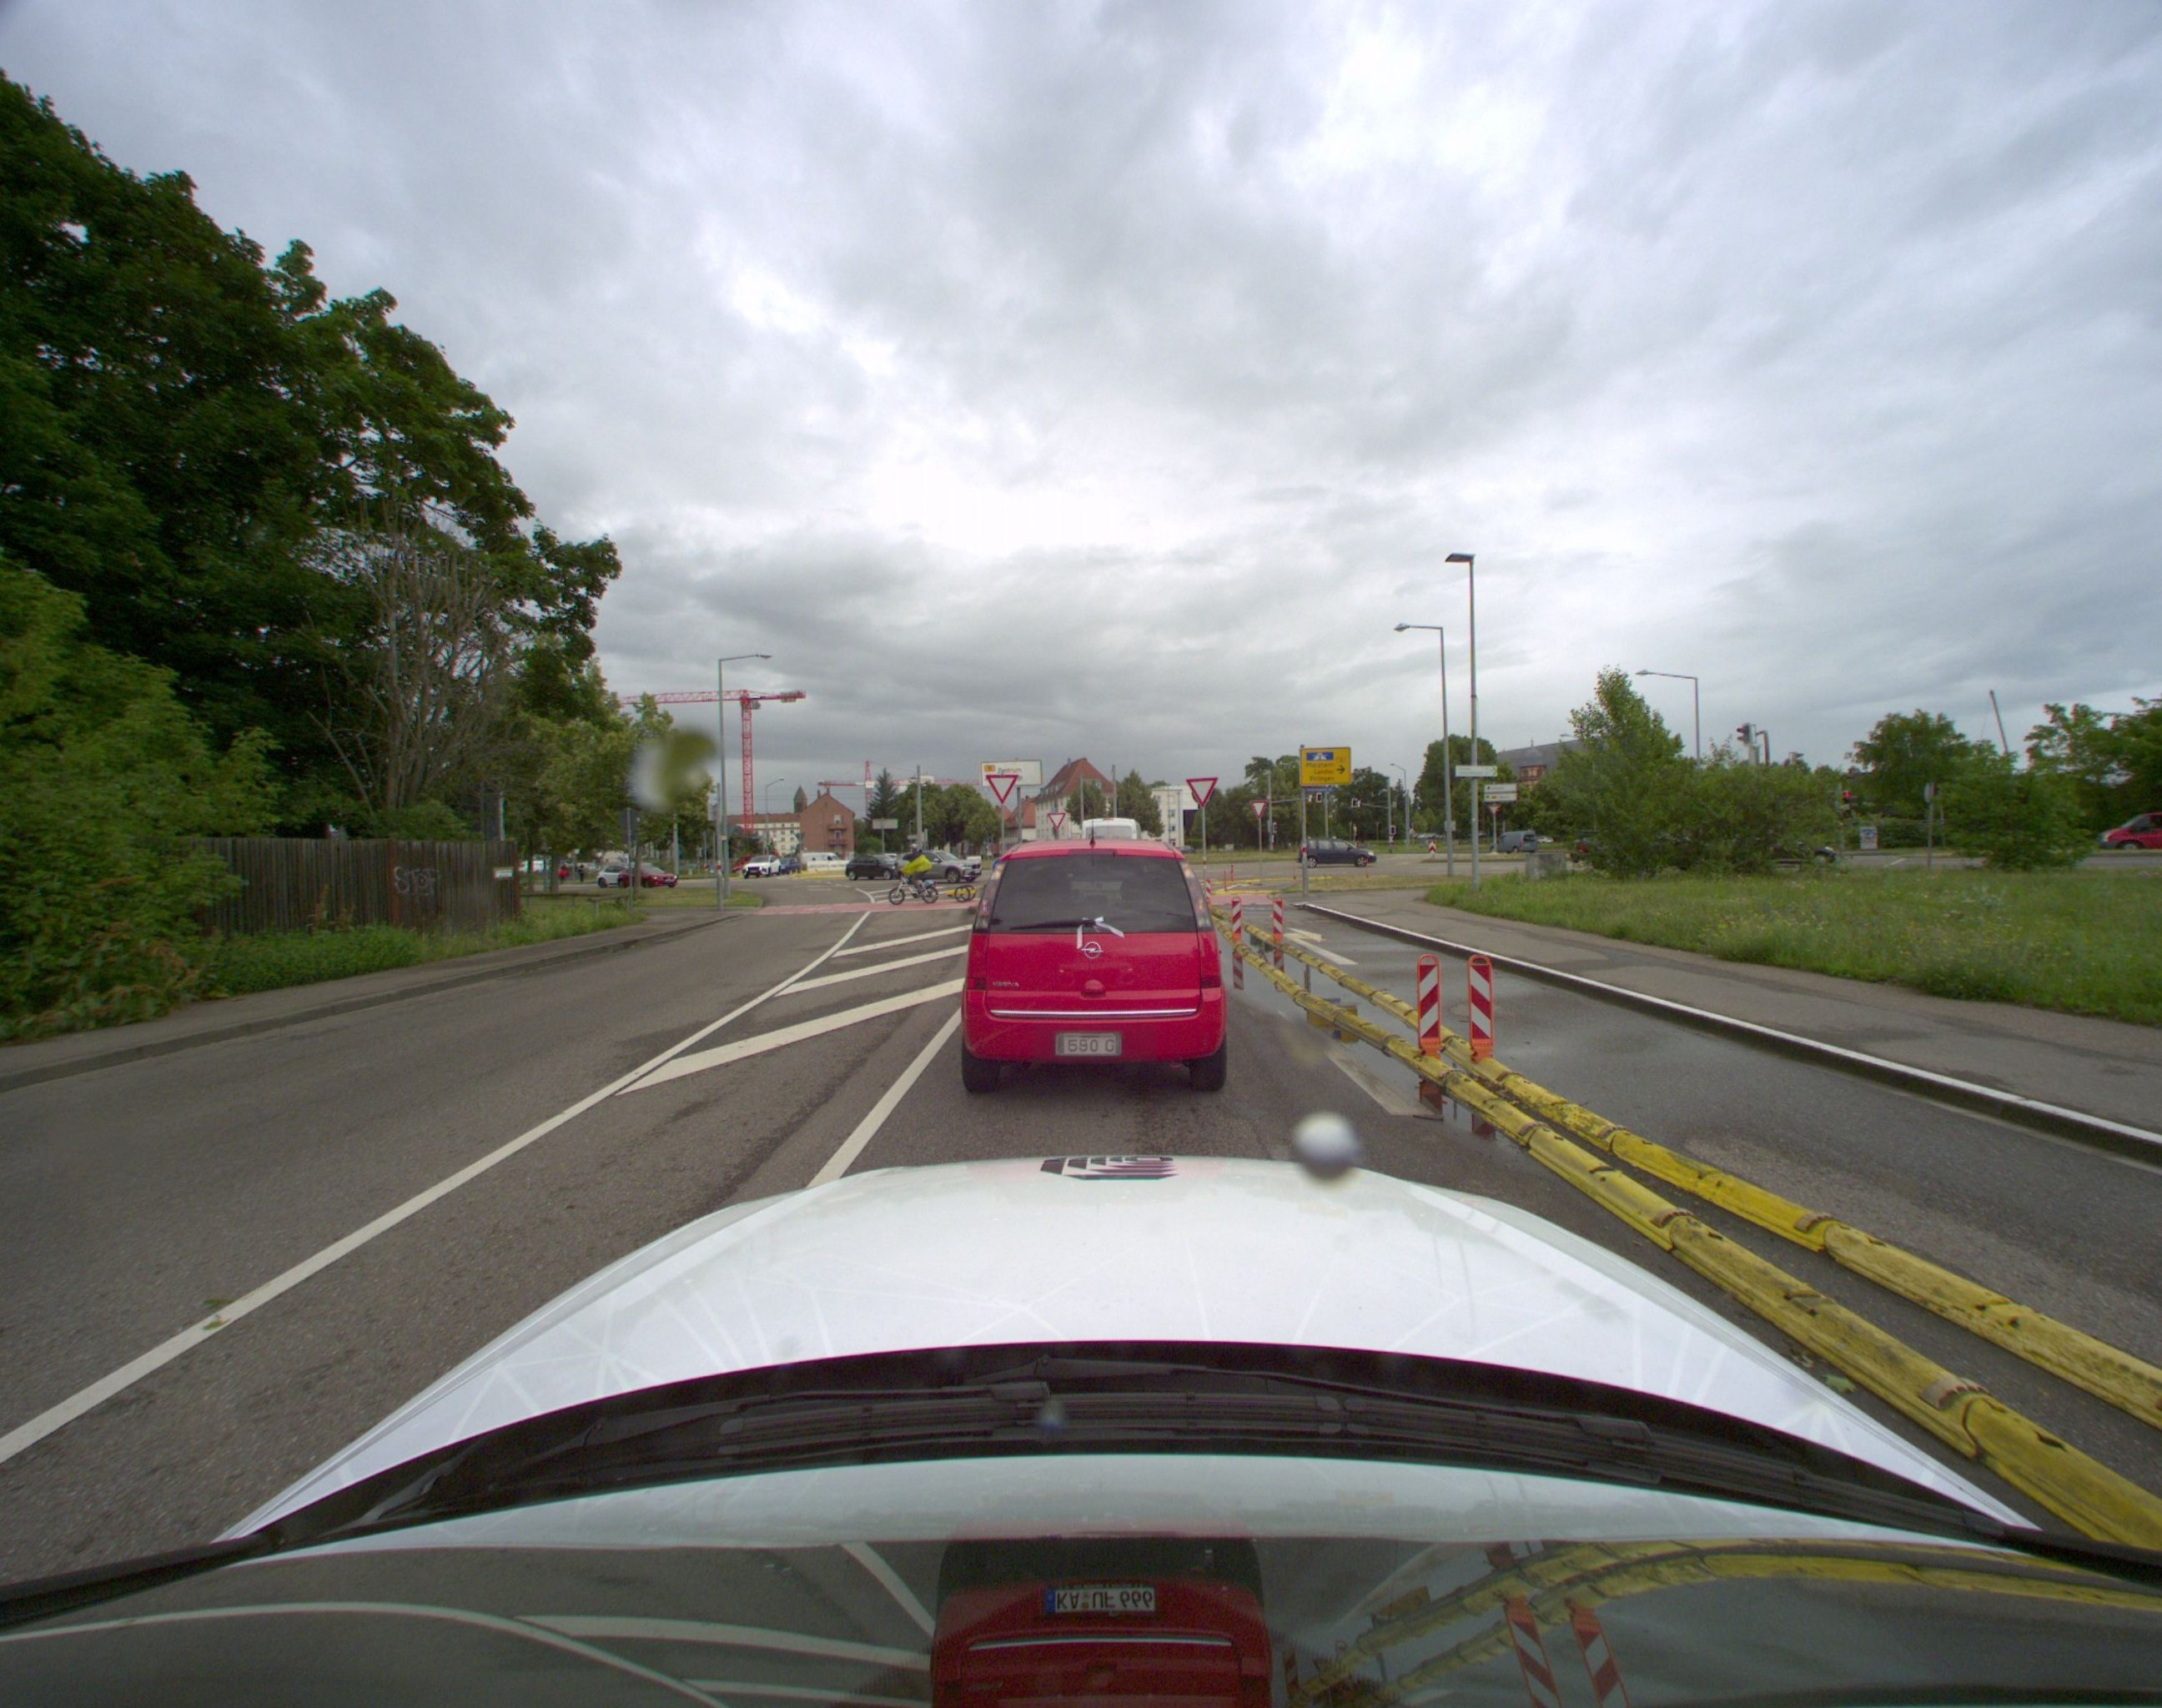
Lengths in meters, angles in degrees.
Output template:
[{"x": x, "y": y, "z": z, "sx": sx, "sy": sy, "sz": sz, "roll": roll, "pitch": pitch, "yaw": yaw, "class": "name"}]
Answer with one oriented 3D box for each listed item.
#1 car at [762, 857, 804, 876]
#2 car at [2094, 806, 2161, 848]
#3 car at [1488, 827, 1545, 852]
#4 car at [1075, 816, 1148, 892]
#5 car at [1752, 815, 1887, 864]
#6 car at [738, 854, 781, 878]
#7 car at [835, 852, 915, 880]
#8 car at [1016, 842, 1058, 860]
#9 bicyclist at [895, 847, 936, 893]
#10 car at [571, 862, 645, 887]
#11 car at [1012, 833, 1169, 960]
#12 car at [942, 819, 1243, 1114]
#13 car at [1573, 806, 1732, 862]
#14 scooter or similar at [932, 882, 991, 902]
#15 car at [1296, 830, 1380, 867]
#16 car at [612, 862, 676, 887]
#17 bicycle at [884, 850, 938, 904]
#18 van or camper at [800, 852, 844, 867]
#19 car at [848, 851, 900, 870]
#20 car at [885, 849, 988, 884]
[{"x": -25.276, "y": 1.030, "z": 69.197, "sx": 1.923, "sy": 1.489, "sz": 4.002, "roll": -2, "pitch": 0, "yaw": 2, "class": "car"}, {"x": 51.770, "y": -1.306, "z": 38.365, "sx": 4.829, "sy": 1.917, "sz": 2.128, "roll": -2, "pitch": 0, "yaw": 44, "class": "car"}, {"x": 37.673, "y": -1.227, "z": 70.584, "sx": 1.995, "sy": 2.013, "sz": 4.460, "roll": -2, "pitch": 0, "yaw": -12, "class": "car"}, {"x": 1.229, "y": -0.023, "z": 29.848, "sx": 2.183, "sy": 2.540, "sz": 4.973, "roll": -1, "pitch": 0, "yaw": 7, "class": "car"}, {"x": 30.133, "y": -0.579, "z": 33.284, "sx": 2.012, "sy": 1.848, "sz": 3.950, "roll": -2, "pitch": 0, "yaw": -44, "class": "car"}, {"x": -24.618, "y": 0.897, "z": 62.515, "sx": 1.928, "sy": 1.684, "sz": 4.180, "roll": -2, "pitch": 0, "yaw": -6, "class": "car"}, {"x": -11.945, "y": 0.694, "z": 47.214, "sx": 4.266, "sy": 1.464, "sz": 2.013, "roll": -2, "pitch": 0, "yaw": 30, "class": "car"}, {"x": -5.137, "y": -0.341, "z": 94.565, "sx": 4.473, "sy": 2.013, "sz": 1.990, "roll": -2, "pitch": 0, "yaw": -15, "class": "car"}, {"x": -5.130, "y": 0.495, "z": 25.266, "sx": 1.053, "sy": 1.401, "sz": 0.618, "roll": -2, "pitch": 0, "yaw": 18, "class": "bicyclist"}, {"x": -32.640, "y": 1.423, "z": 56.250, "sx": 3.962, "sy": 1.508, "sz": 2.006, "roll": -2, "pitch": 0, "yaw": 10, "class": "car"}, {"x": 0.195, "y": 0.537, "z": 13.012, "sx": 2.052, "sy": 1.648, "sz": 4.609, "roll": -1, "pitch": 0, "yaw": 2, "class": "car"}, {"x": 0.118, "y": 0.616, "z": 6.379, "sx": 1.667, "sy": 1.640, "sz": 3.629, "roll": -1, "pitch": 0, "yaw": 2, "class": "car"}, {"x": 22.635, "y": -0.754, "z": 32.342, "sx": 4.977, "sy": 1.972, "sz": 2.238, "roll": -2, "pitch": 0, "yaw": 39, "class": "car"}, {"x": -3.663, "y": 1.165, "z": 25.126, "sx": 1.600, "sy": 0.504, "sz": 0.926, "roll": -2, "pitch": 0, "yaw": 4, "class": "scooter or similar"}, {"x": 14.008, "y": -0.293, "z": 44.598, "sx": 4.166, "sy": 1.813, "sz": 2.085, "roll": -2, "pitch": 0, "yaw": 12, "class": "car"}, {"x": -27.858, "y": 1.330, "z": 51.909, "sx": 4.301, "sy": 1.464, "sz": 2.013, "roll": -2, "pitch": 0, "yaw": 39, "class": "car"}, {"x": -5.274, "y": 0.720, "z": 25.313, "sx": 1.465, "sy": 1.612, "sz": 0.609, "roll": -2, "pitch": 0, "yaw": 17, "class": "bicycle"}, {"x": -39.239, "y": 0.849, "z": 123.433, "sx": 6.135, "sy": 2.013, "sz": 2.007, "roll": -2, "pitch": 0, "yaw": 12, "class": "van or camper"}, {"x": -20.682, "y": 0.635, "z": 81.515, "sx": 1.974, "sy": 1.635, "sz": 4.705, "roll": -2, "pitch": 0, "yaw": 40, "class": "car"}, {"x": -7.094, "y": 0.609, "z": 40.137, "sx": 4.481, "sy": 1.583, "sz": 2.009, "roll": -2, "pitch": 0, "yaw": 18, "class": "car"}]
